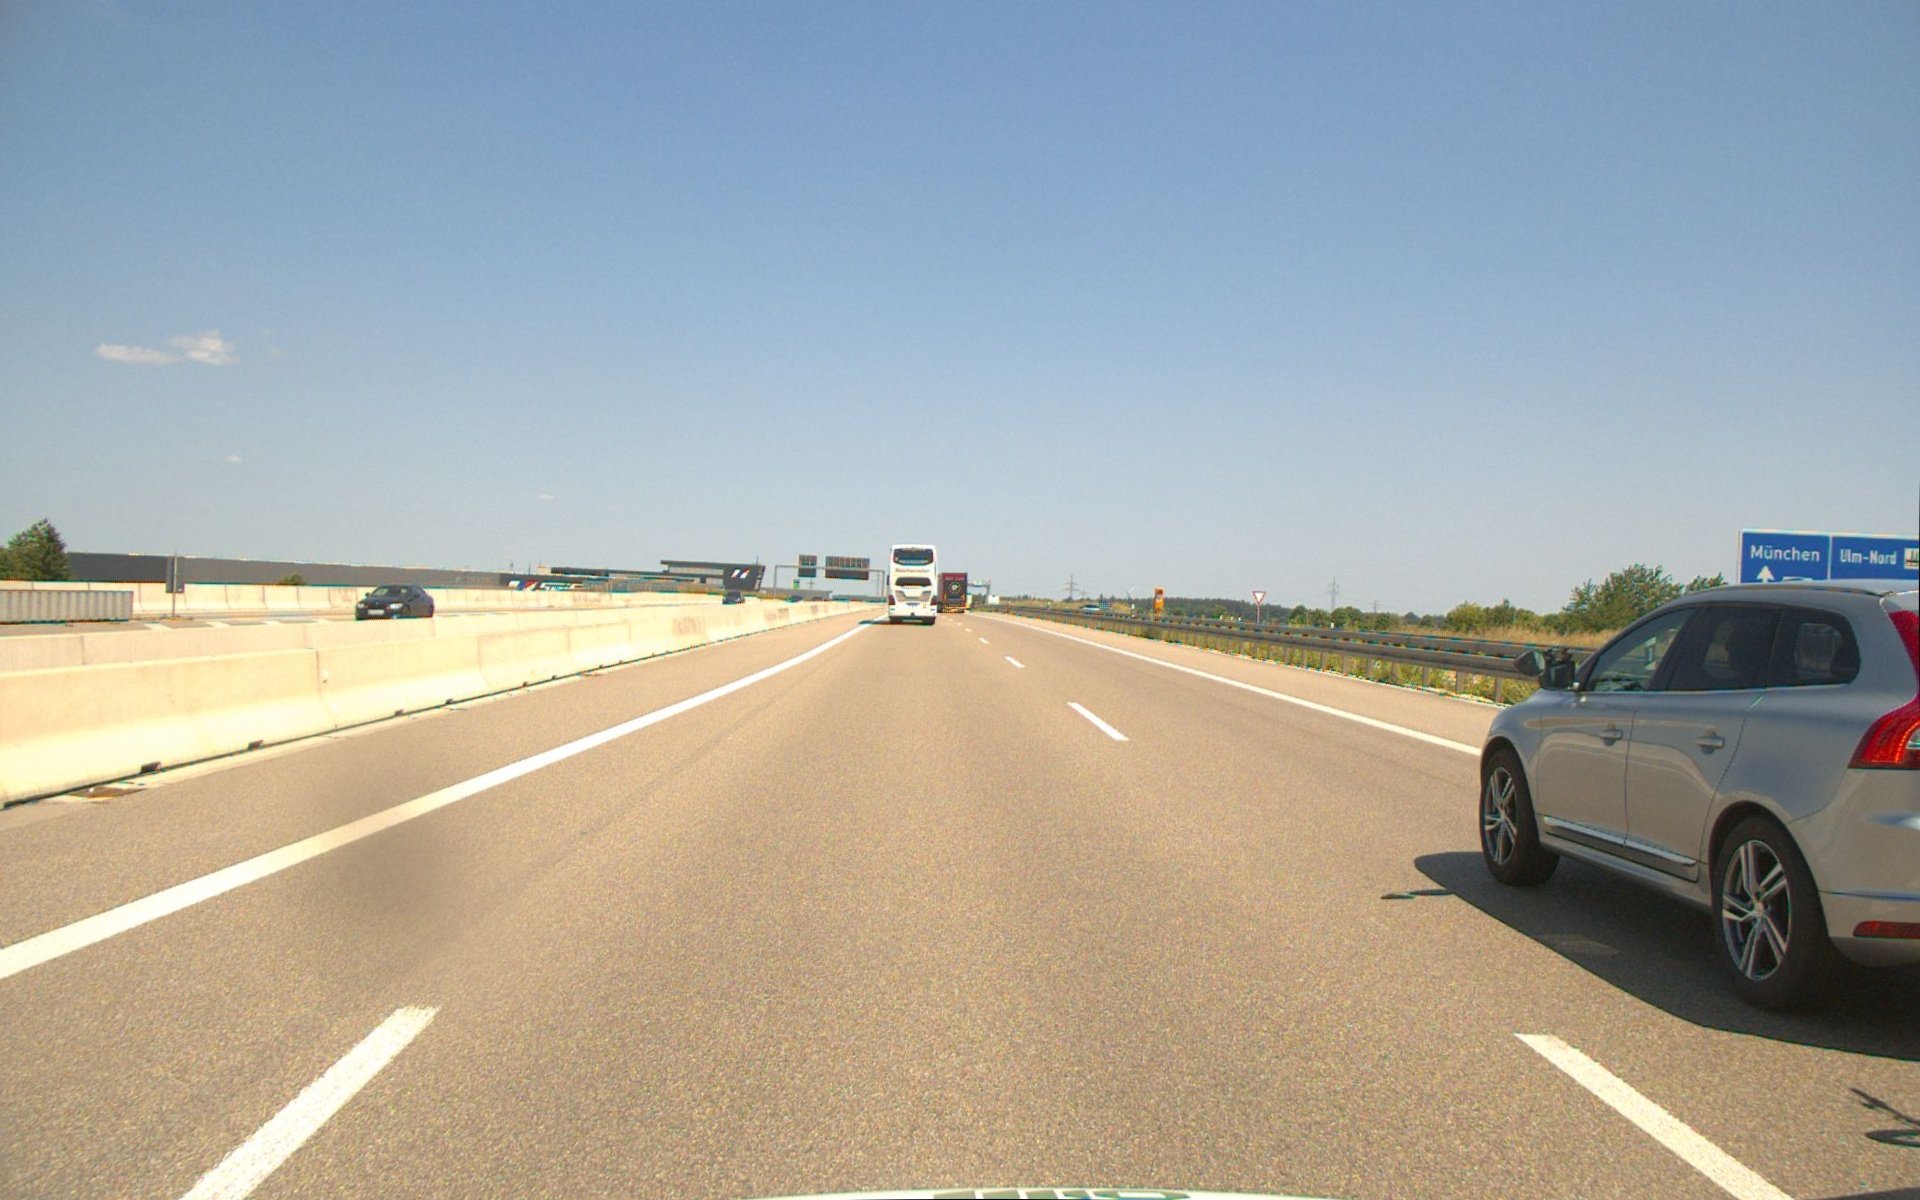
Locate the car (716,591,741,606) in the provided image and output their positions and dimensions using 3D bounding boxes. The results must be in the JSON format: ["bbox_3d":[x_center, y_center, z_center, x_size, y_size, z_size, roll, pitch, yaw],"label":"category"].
[{"bbox_3d":[-23.025,-0.126,164.527,1.872,1.445,4.548,1,0,-2],"label":"car"}]

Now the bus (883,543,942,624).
[{"bbox_3d":[-2.628,-0.844,88.642,2.921,4.044,9.100,1,0,-3],"label":"bus"}]

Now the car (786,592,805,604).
[{"bbox_3d":[-20.189,-0.245,203.457,1.874,1.445,4.907,1,0,-1],"label":"car"}]

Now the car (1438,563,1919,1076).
[{"bbox_3d":[3.951,0.710,7.808,1.842,1.651,4.902,1,0,-2],"label":"car"}]

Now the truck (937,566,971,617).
[{"bbox_3d":[-0.618,-0.809,172.664,3.310,4.542,13.563,2,-2,0],"label":"truck"}]

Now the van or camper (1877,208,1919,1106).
[{"bbox_3d":[4.148,0.220,1.177,2.461,2.638,7.815,1,1,-1],"label":"van or camper"}]

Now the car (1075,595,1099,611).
[{"bbox_3d":[12.826,0.329,167.081,1.853,1.556,4.260,1,0,-3],"label":"car"}]

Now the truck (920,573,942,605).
[{"bbox_3d":[-3.603,-1.360,204.484,2.389,3.855,6.490,1,0,-3],"label":"truck"}]

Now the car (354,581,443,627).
[{"bbox_3d":[-20.082,0.134,59.372,1.697,1.563,4.547,1,0,-1],"label":"car"}]
